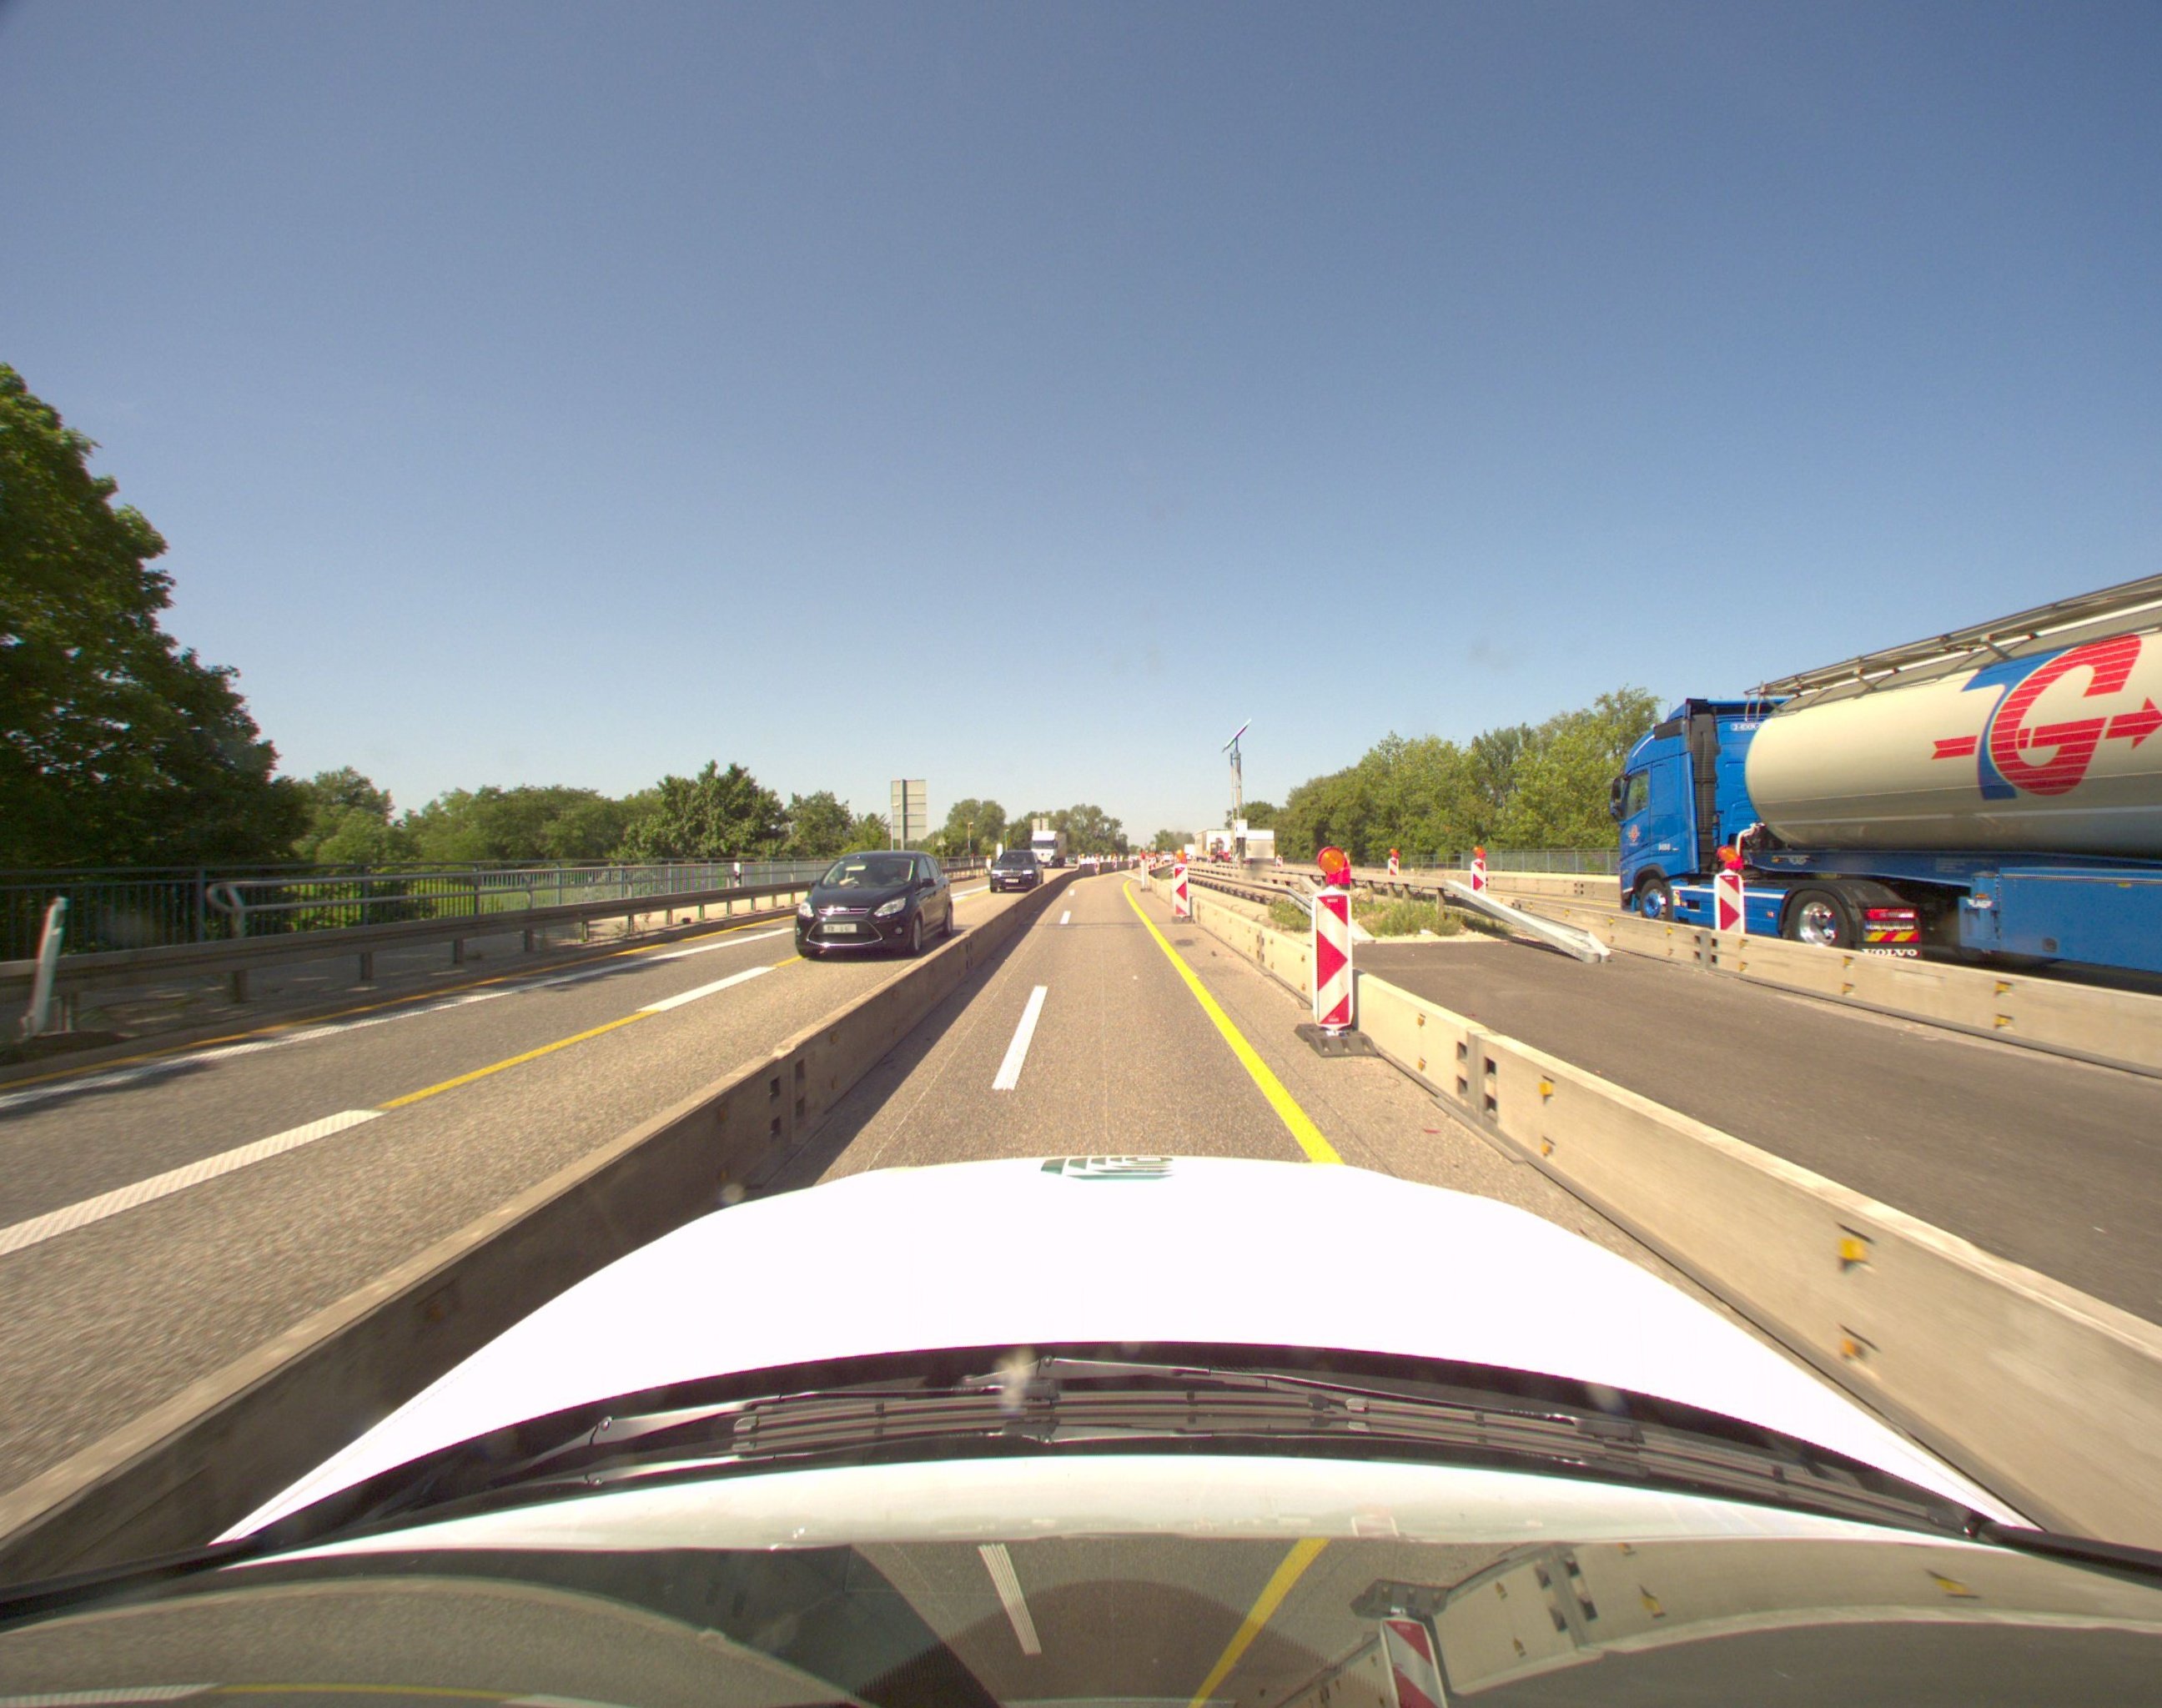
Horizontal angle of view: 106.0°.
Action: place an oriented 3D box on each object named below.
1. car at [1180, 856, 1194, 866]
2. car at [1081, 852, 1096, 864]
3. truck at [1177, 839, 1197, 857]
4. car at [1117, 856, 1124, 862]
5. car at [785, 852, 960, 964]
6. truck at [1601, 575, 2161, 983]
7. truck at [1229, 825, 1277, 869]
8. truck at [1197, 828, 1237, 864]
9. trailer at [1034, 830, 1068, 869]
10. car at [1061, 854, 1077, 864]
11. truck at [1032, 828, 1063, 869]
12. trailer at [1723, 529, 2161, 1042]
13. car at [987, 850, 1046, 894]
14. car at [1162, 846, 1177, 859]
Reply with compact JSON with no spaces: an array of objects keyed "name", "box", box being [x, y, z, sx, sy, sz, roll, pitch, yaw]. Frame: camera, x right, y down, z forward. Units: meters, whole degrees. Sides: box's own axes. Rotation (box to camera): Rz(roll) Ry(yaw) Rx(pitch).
[{"name":"car","box":[19.161,1.300,147.453,1.986,1.776,4.001,-2,0,1]},{"name":"car","box":[0.984,0.496,107.139,1.783,1.568,3.874,-1,0,2]},{"name":"truck","box":[27.347,-1.469,210.307,4.202,4.266,10.250,-2,0,3]},{"name":"car","box":[10.104,1.237,207.994,1.730,1.476,4.650,-1,0,4]},{"name":"car","box":[-3.235,0.752,13.426,1.731,1.552,3.944,-1,0,2]},{"name":"truck","box":[10.859,-0.743,11.919,2.678,4.102,7.319,-2,0,9]},{"name":"truck","box":[14.133,-0.583,67.493,2.624,3.427,7.235,-1,0,2]},{"name":"truck","box":[14.877,-0.822,89.569,3.376,3.774,7.235,-2,0,1]},{"name":"trailer","box":[-3.316,-0.450,94.202,2.750,4.136,14.537,-2,0,2]},{"name":"car","box":[-1.822,0.769,124.434,1.924,1.508,4.474,-1,0,4]},{"name":"truck","box":[-3.539,-0.523,87.032,2.739,4.136,6.418,-2,0,2]},{"name":"trailer","box":[9.929,-0.579,5.553,2.679,4.137,12.644,-2,0,8]},{"name":"car","box":[-2.544,0.687,33.357,1.856,1.632,4.568,-1,0,2]},{"name":"car","box":[13.003,-0.178,119.642,1.810,1.776,4.001,-2,0,2]}]
